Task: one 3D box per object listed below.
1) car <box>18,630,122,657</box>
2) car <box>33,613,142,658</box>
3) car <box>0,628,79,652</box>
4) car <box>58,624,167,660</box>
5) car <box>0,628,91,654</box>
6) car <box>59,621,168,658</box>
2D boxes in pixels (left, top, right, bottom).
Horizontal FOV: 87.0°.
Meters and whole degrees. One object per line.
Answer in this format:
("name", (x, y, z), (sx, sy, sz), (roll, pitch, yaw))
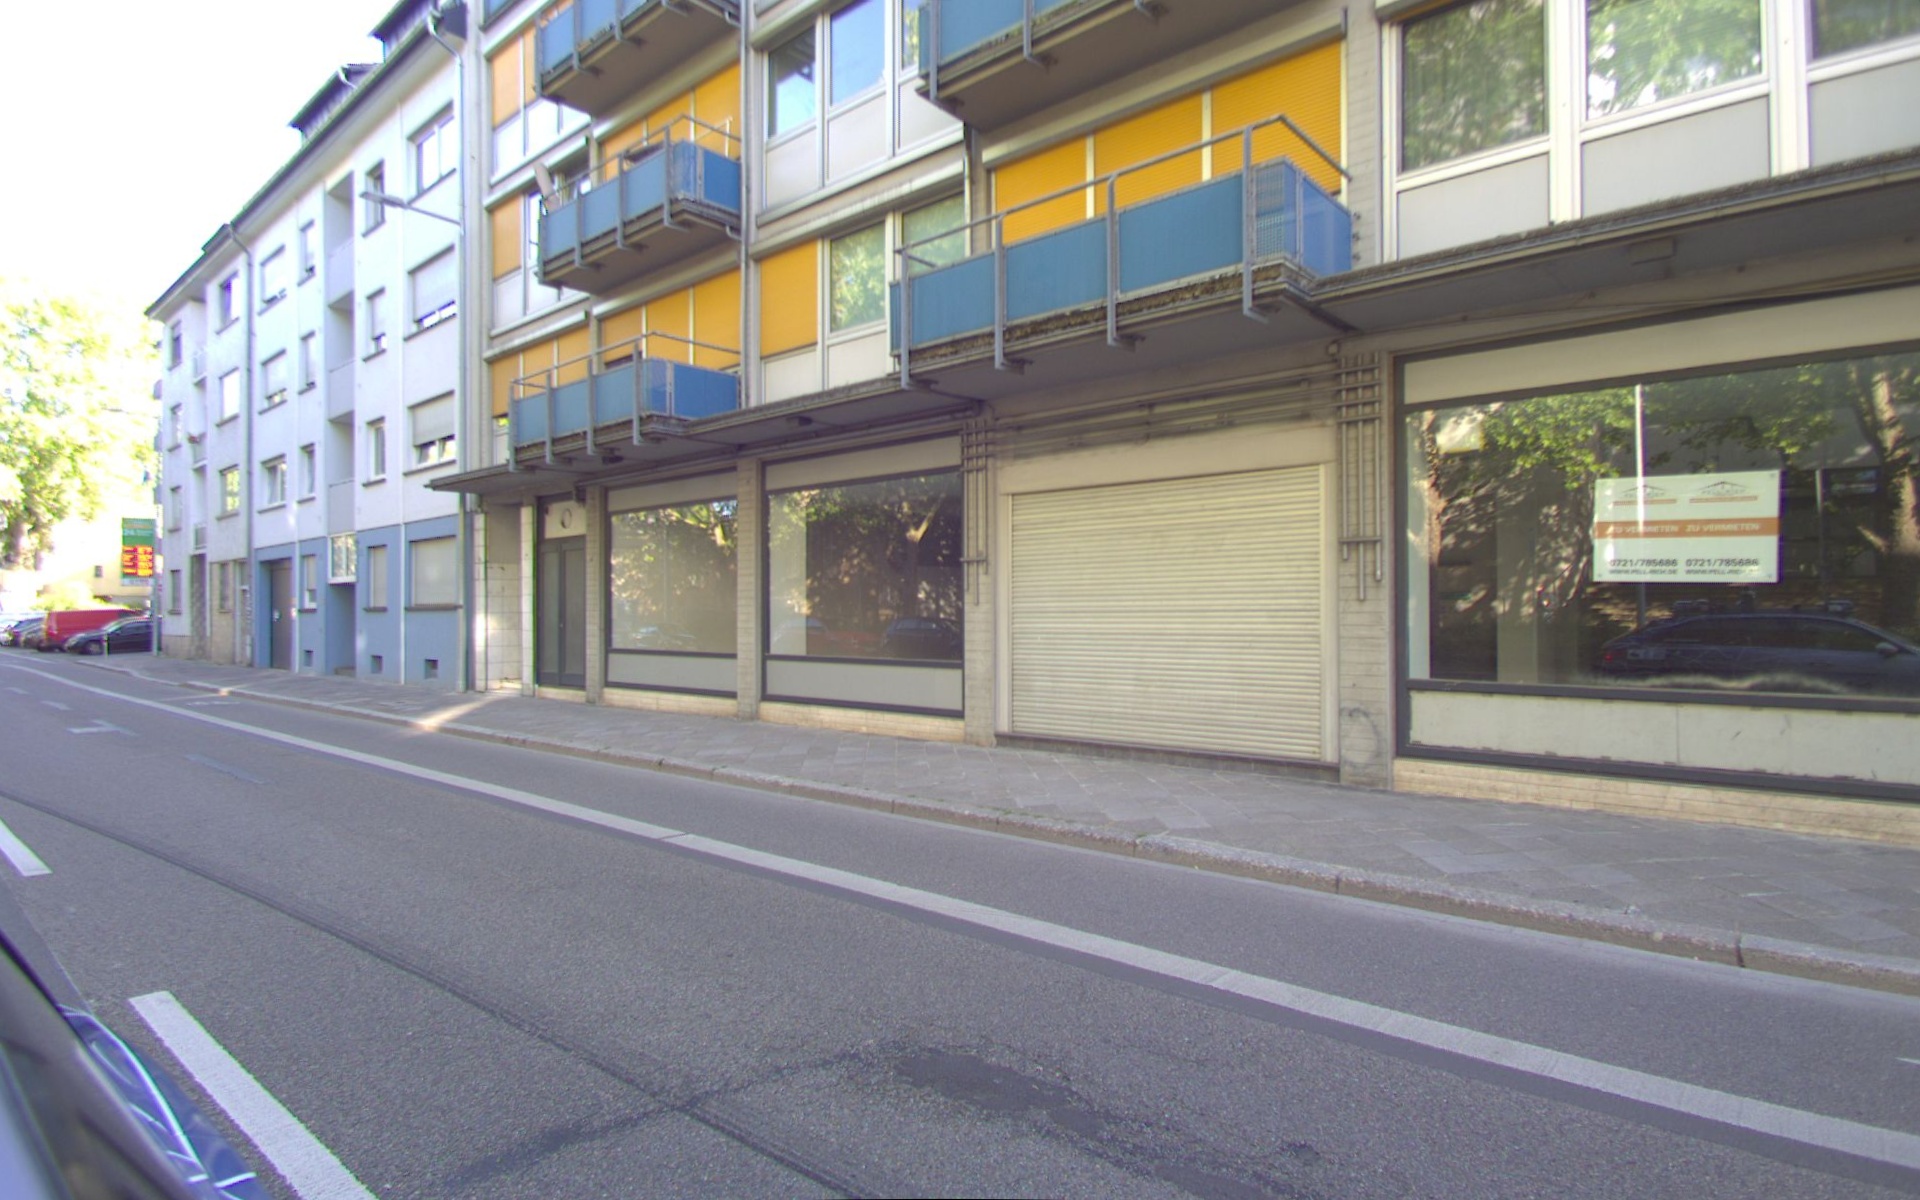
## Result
("car", (-42.812, 2.068, 48.733), (1.345, 1.137, 3.638), (-1, 0, 43))
("car", (-40.649, 1.642, 47.218), (1.488, 1.923, 3.642), (-4, -2, 39))
("car", (-52.258, 2.243, 57.499), (1.345, 1.254, 3.228), (-1, 0, 43))
("car", (-36.674, 1.805, 43.838), (1.490, 1.398, 3.462), (-1, 0, 43))
("car", (-50.444, 2.235, 55.870), (1.345, 1.254, 3.638), (-1, 0, 43))
("car", (-38.190, 1.763, 45.719), (1.490, 1.523, 3.638), (-1, 0, 43))
